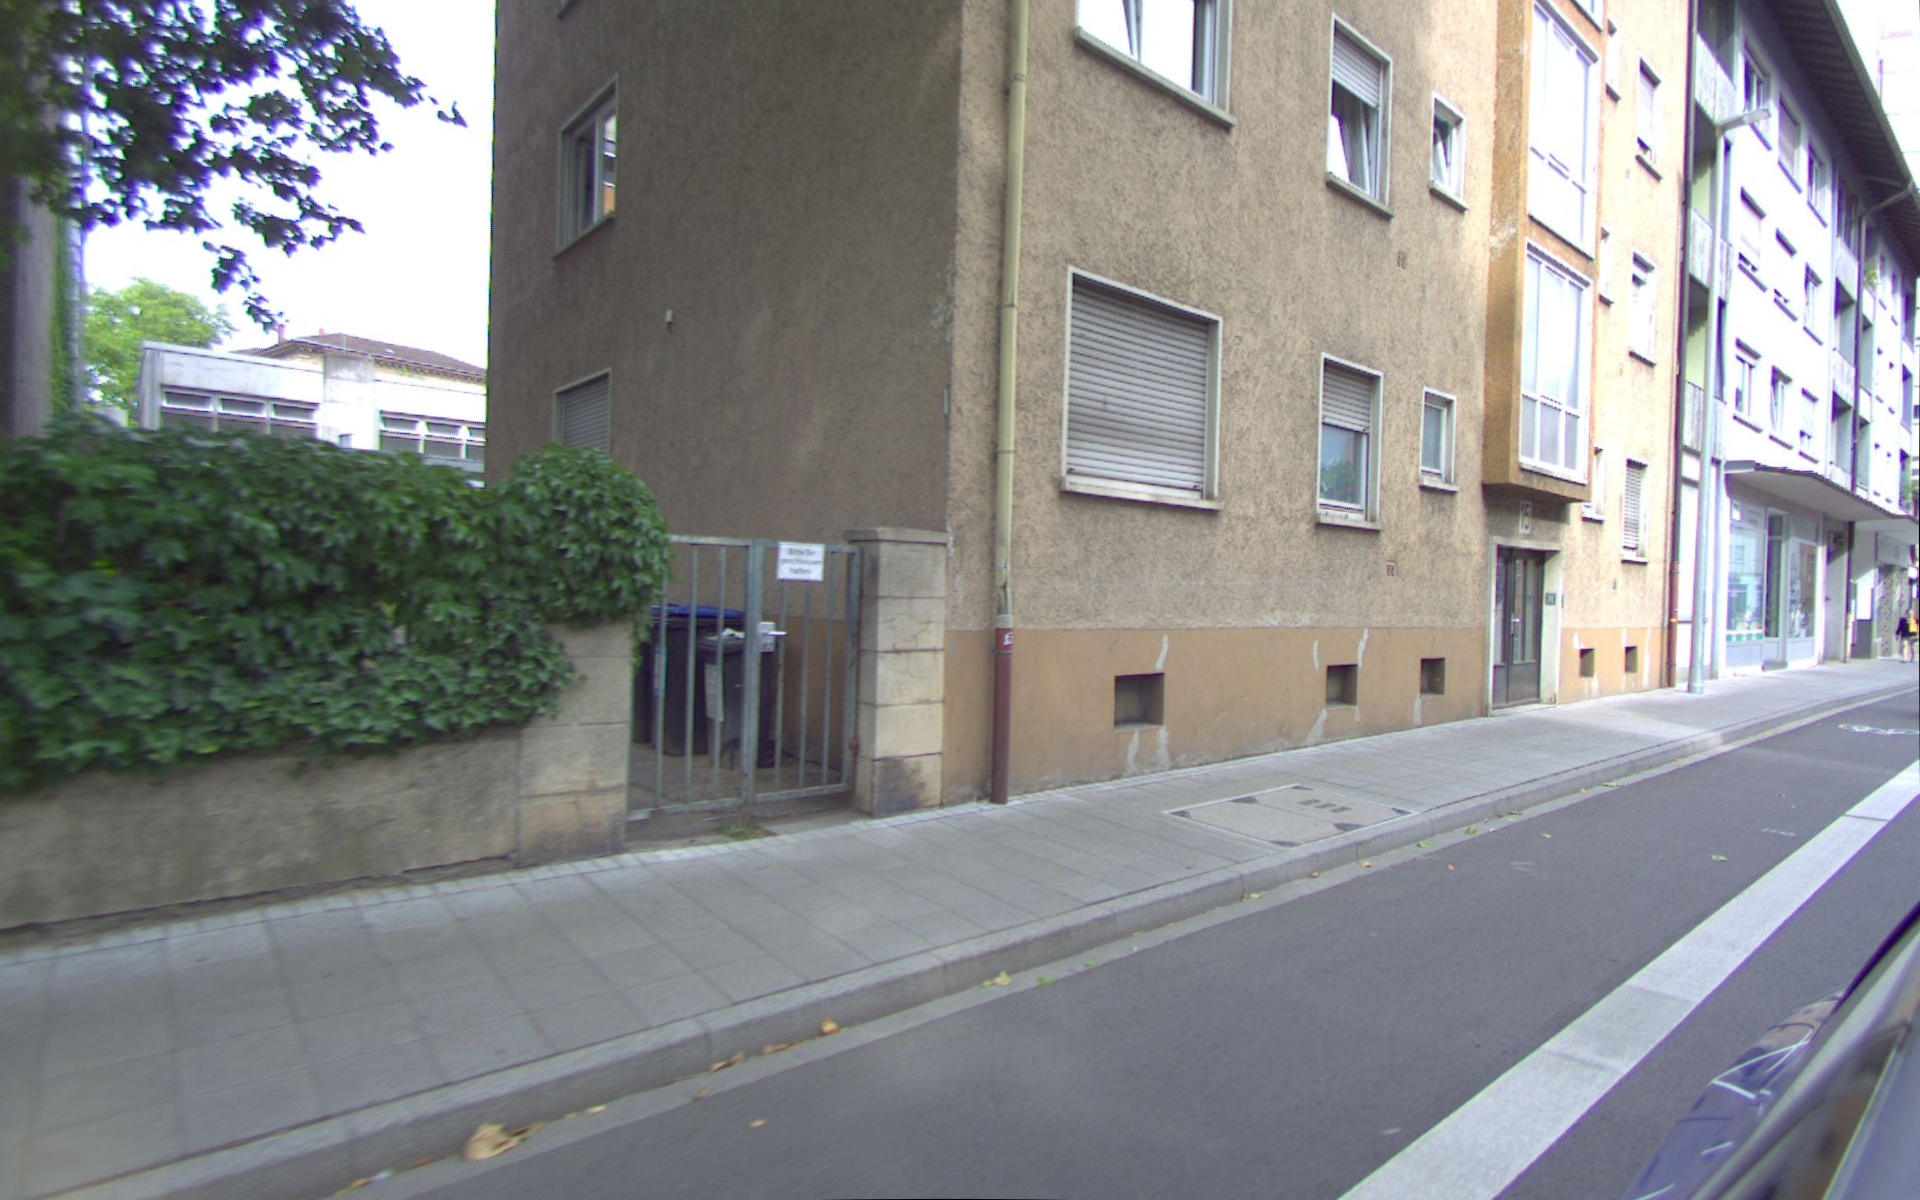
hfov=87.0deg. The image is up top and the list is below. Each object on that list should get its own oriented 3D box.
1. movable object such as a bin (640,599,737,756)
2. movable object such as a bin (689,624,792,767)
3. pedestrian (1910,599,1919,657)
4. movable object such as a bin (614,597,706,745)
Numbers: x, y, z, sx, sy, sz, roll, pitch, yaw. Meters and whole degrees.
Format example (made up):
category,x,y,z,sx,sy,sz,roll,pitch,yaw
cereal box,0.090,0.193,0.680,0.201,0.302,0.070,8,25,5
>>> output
category,x,y,z,sx,sy,sz,roll,pitch,yaw
movable object such as a bin,-2.038,0.560,7.588,0.523,1.107,0.490,1,0,-41
movable object such as a bin,-1.557,0.650,7.184,0.523,0.938,0.490,1,0,-41
pedestrian,28.347,0.819,29.665,0.928,1.689,0.605,1,0,-42
movable object such as a bin,-2.366,0.538,7.977,0.523,1.107,0.490,1,0,-41
